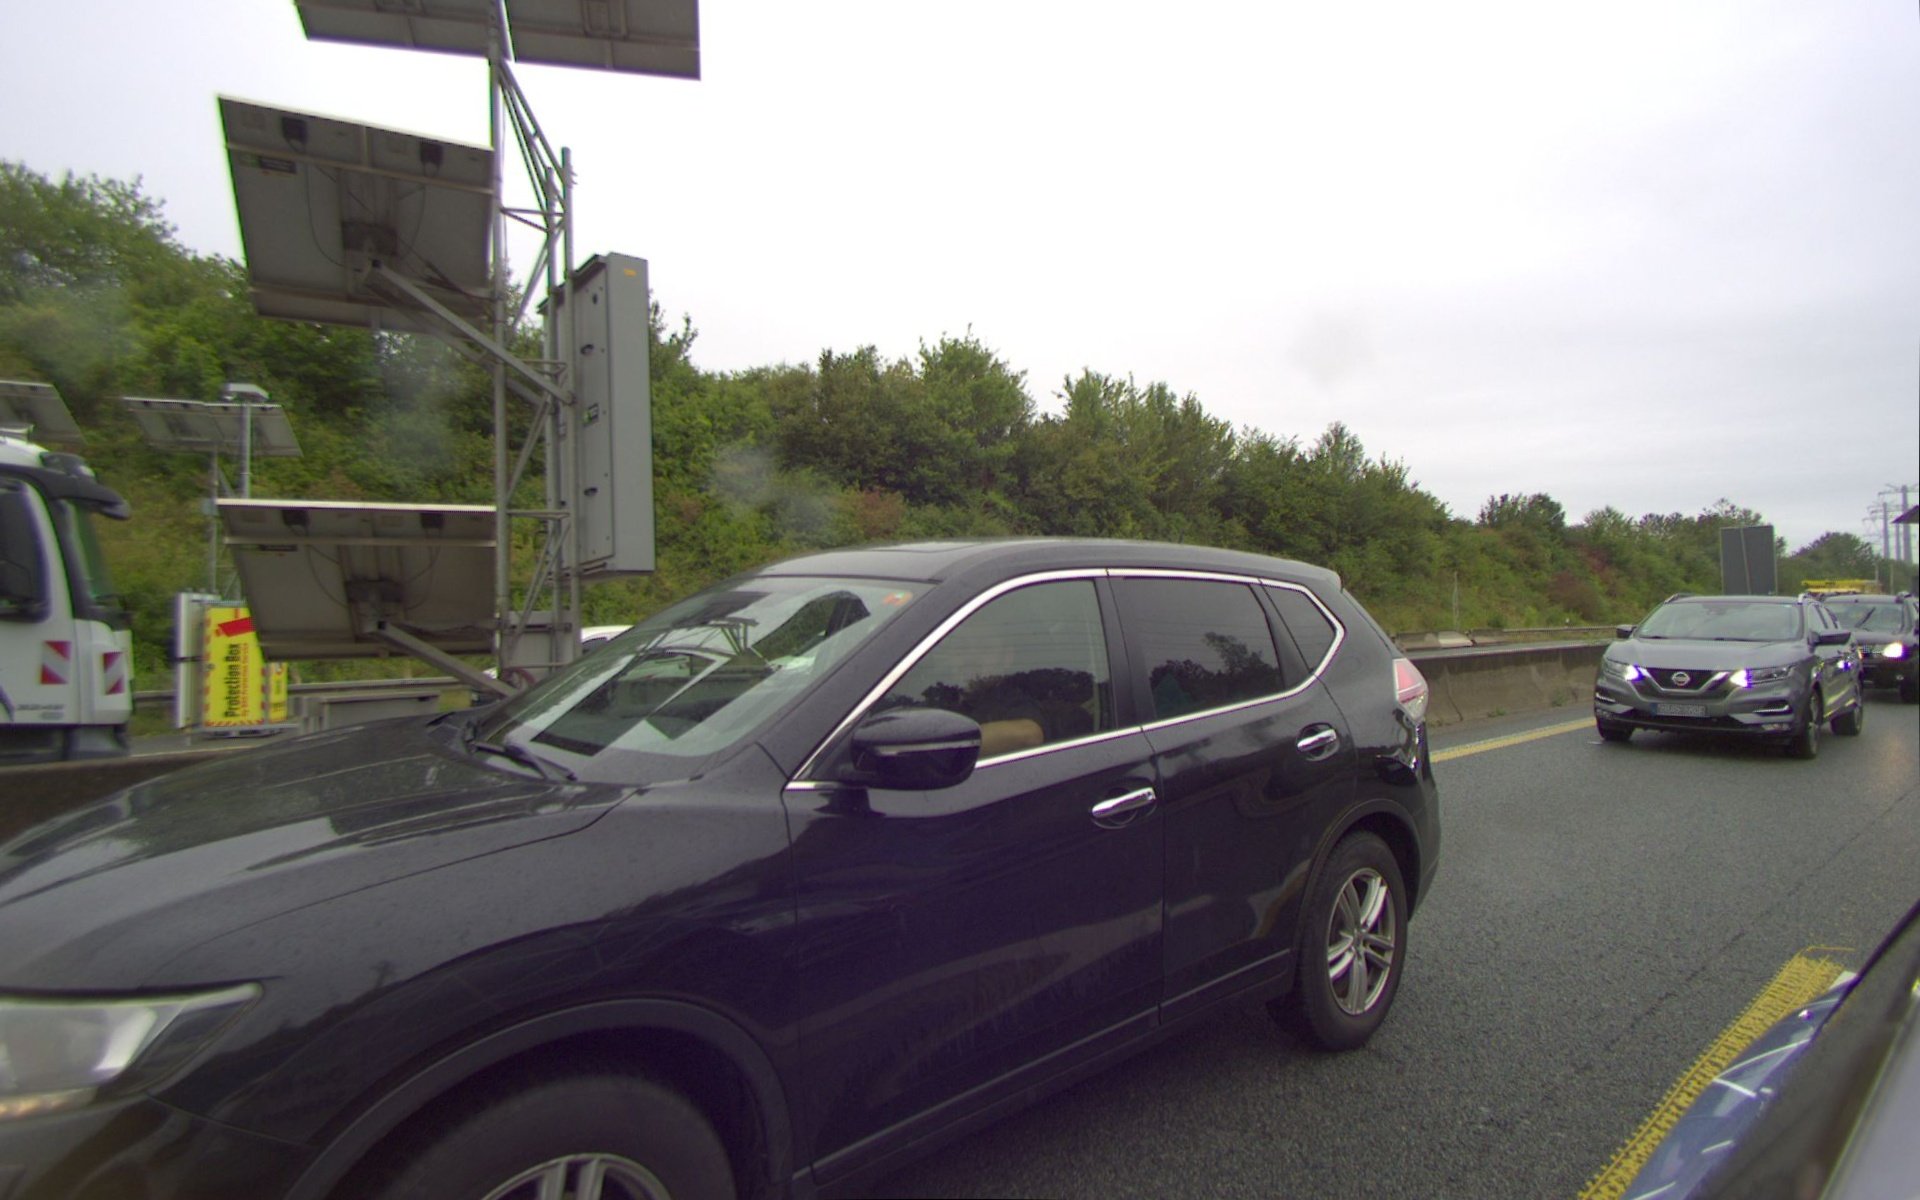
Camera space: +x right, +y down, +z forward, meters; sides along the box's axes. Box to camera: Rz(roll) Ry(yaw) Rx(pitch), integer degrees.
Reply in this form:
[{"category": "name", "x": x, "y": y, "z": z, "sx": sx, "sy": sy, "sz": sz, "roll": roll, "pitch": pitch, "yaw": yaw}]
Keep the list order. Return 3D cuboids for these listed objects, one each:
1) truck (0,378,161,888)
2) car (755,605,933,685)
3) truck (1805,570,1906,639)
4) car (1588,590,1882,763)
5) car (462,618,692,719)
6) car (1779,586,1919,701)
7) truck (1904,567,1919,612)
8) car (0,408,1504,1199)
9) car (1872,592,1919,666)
[{"category": "truck", "x": -9.573, "y": 0.234, "z": 4.841, "sx": 8.959, "sy": 3.171, "sz": 2.525, "roll": -1, "pitch": 0, "yaw": -41}, {"category": "car", "x": -2.844, "y": 1.045, "z": 25.399, "sx": 4.255, "sy": 1.792, "sz": 1.731, "roll": -1, "pitch": 0, "yaw": -41}, {"category": "truck", "x": 48.441, "y": 0.180, "z": 54.609, "sx": 9.404, "sy": 3.467, "sz": 2.618, "roll": -1, "pitch": 0, "yaw": -39}, {"category": "car", "x": 8.459, "y": 0.658, "z": 10.921, "sx": 4.052, "sy": 1.509, "sz": 1.782, "roll": -1, "pitch": 1, "yaw": -41}, {"category": "car", "x": -7.940, "y": 1.339, "z": 21.191, "sx": 4.195, "sy": 1.780, "sz": 1.731, "roll": -1, "pitch": 0, "yaw": -41}, {"category": "car", "x": 14.521, "y": 0.584, "z": 16.013, "sx": 4.052, "sy": 1.618, "sz": 1.782, "roll": -1, "pitch": 0, "yaw": -41}, {"category": "truck", "x": 77.538, "y": -0.867, "z": 79.744, "sx": 9.404, "sy": 3.467, "sz": 3.328, "roll": -1, "pitch": 0, "yaw": -39}, {"category": "car", "x": -0.175, "y": 0.607, "z": 3.205, "sx": 4.561, "sy": 1.696, "sz": 1.892, "roll": -1, "pitch": 1, "yaw": -41}, {"category": "car", "x": 21.381, "y": 0.581, "z": 22.071, "sx": 4.052, "sy": 1.509, "sz": 1.782, "roll": -1, "pitch": 1, "yaw": -41}]
